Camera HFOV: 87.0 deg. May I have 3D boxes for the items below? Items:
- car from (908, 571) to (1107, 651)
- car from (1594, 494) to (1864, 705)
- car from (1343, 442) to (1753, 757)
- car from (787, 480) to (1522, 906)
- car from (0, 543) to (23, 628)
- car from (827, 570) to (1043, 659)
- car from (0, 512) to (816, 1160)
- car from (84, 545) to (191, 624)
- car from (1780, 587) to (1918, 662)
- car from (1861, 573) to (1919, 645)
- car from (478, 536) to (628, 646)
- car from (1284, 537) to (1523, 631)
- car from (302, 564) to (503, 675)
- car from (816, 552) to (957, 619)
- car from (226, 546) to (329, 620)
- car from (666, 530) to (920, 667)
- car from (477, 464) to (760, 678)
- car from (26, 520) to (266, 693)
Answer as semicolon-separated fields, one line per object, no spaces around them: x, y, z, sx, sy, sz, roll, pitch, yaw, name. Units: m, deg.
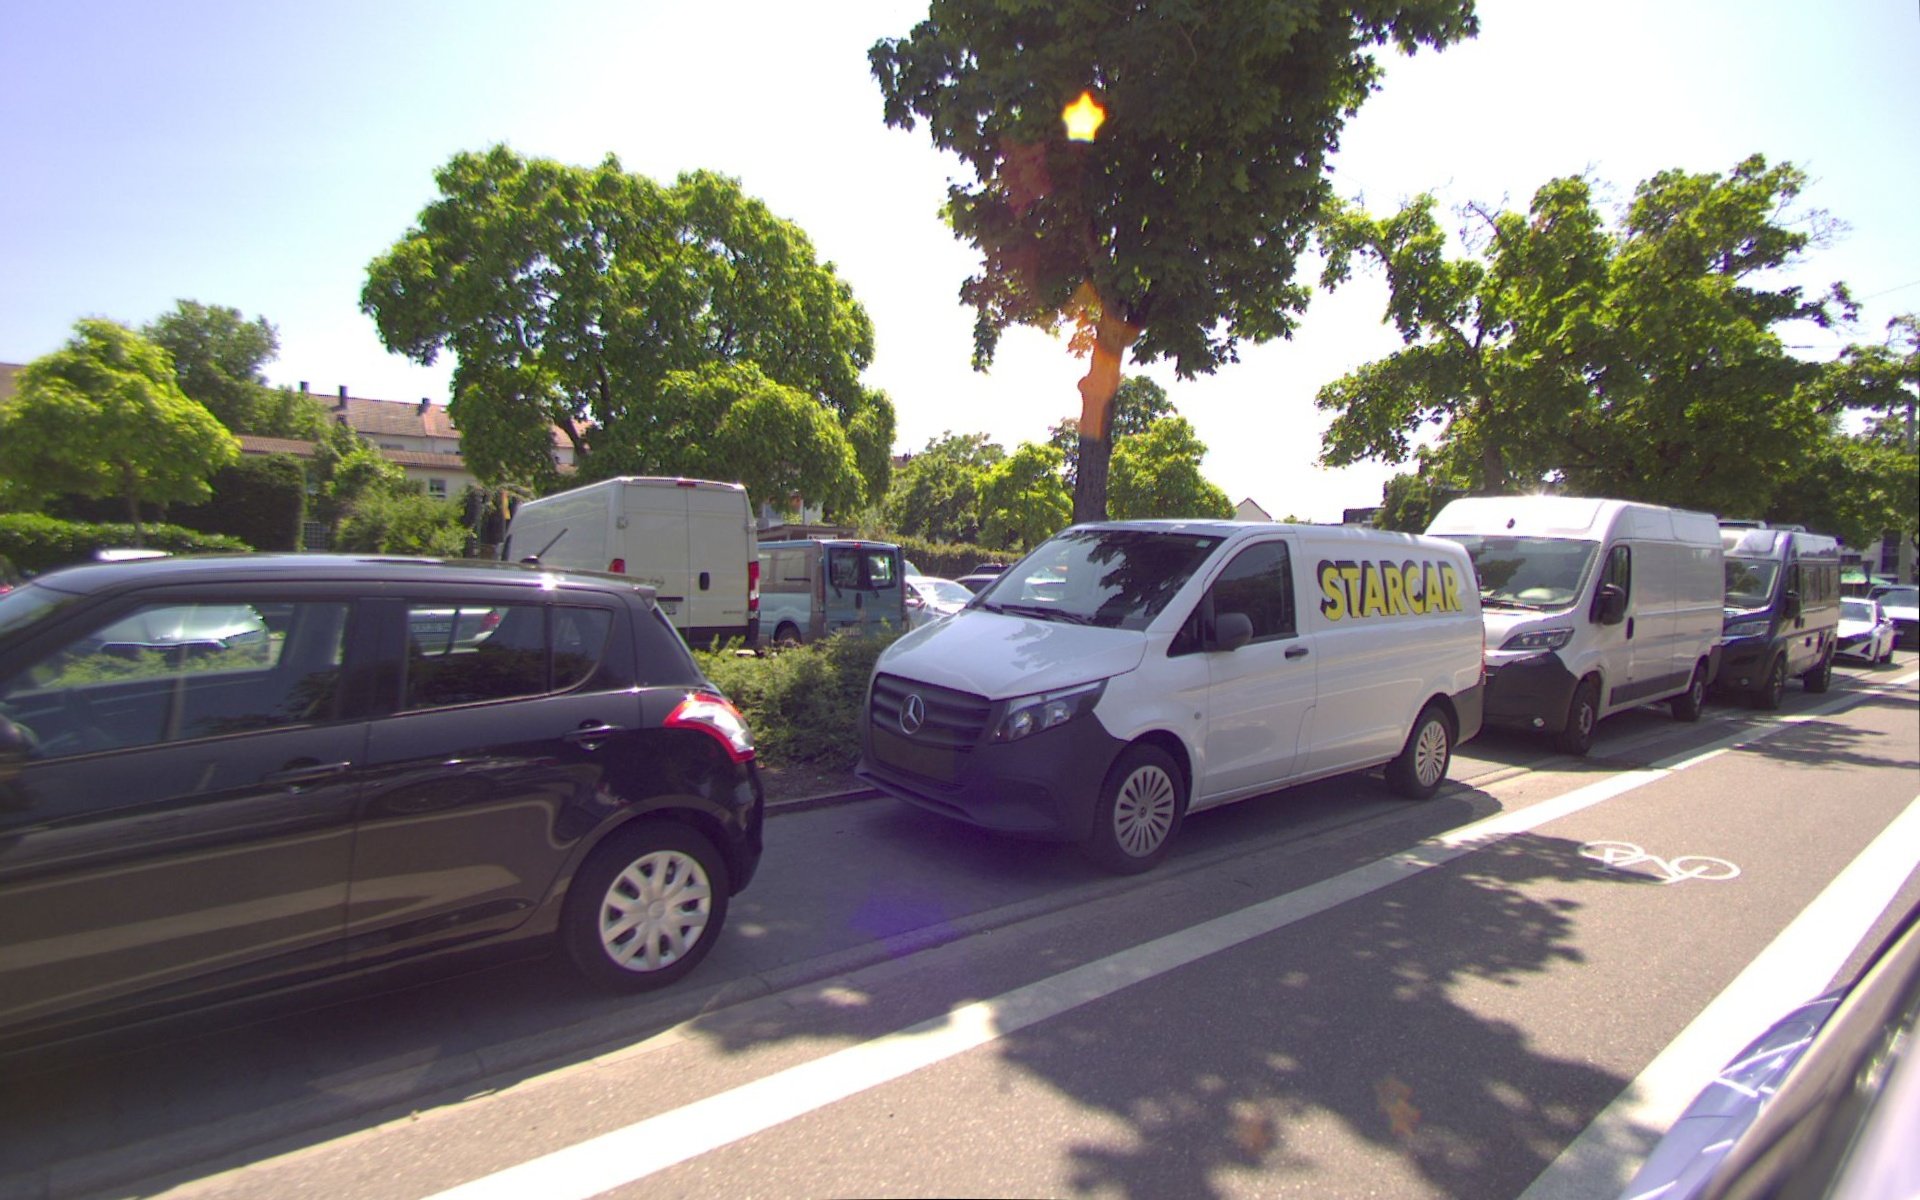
0.856;0.186;20.002;1.699;1.424;3.890;0;0;-43;car
11.906;-0.081;15.468;5.973;2.668;2.002;0;4;-41;car
6.811;-0.073;11.311;6.036;2.668;2.002;0;4;-41;car
1.629;0.345;6.915;5.181;1.901;2.003;0;4;-39;car
-18.840;-0.332;18.933;1.651;1.445;3.344;0;4;-38;car
-0.527;0.222;18.185;1.700;1.424;3.887;0;0;-45;car
-2.573;0.531;3.354;3.771;1.559;1.717;0;4;-39;car
-17.426;-0.371;21.509;1.651;1.445;3.344;0;4;-38;car
20.237;0.497;22.980;4.135;1.445;1.726;0;4;-41;car
28.838;0.272;30.372;5.034;1.939;1.884;0;4;-41;car
-10.783;-0.339;26.563;2.057;2.489;5.505;0;4;-40;car
13.196;-0.447;30.634;2.221;2.561;6.357;0;0;-37;car
-7.113;0.209;12.773;1.652;1.204;3.341;0;0;-40;car
-2.537;-0.526;33.529;2.057;1.899;5.110;0;4;-40;car
-15.229;-0.416;22.509;1.651;1.445;3.344;0;4;-38;car
-2.832;-0.029;16.512;1.922;1.933;4.408;0;0;-45;car
-5.126;-0.344;14.584;2.057;2.490;5.501;0;0;-39;car
-8.834;0.048;10.908;1.740;1.509;4.026;0;0;-42;car
